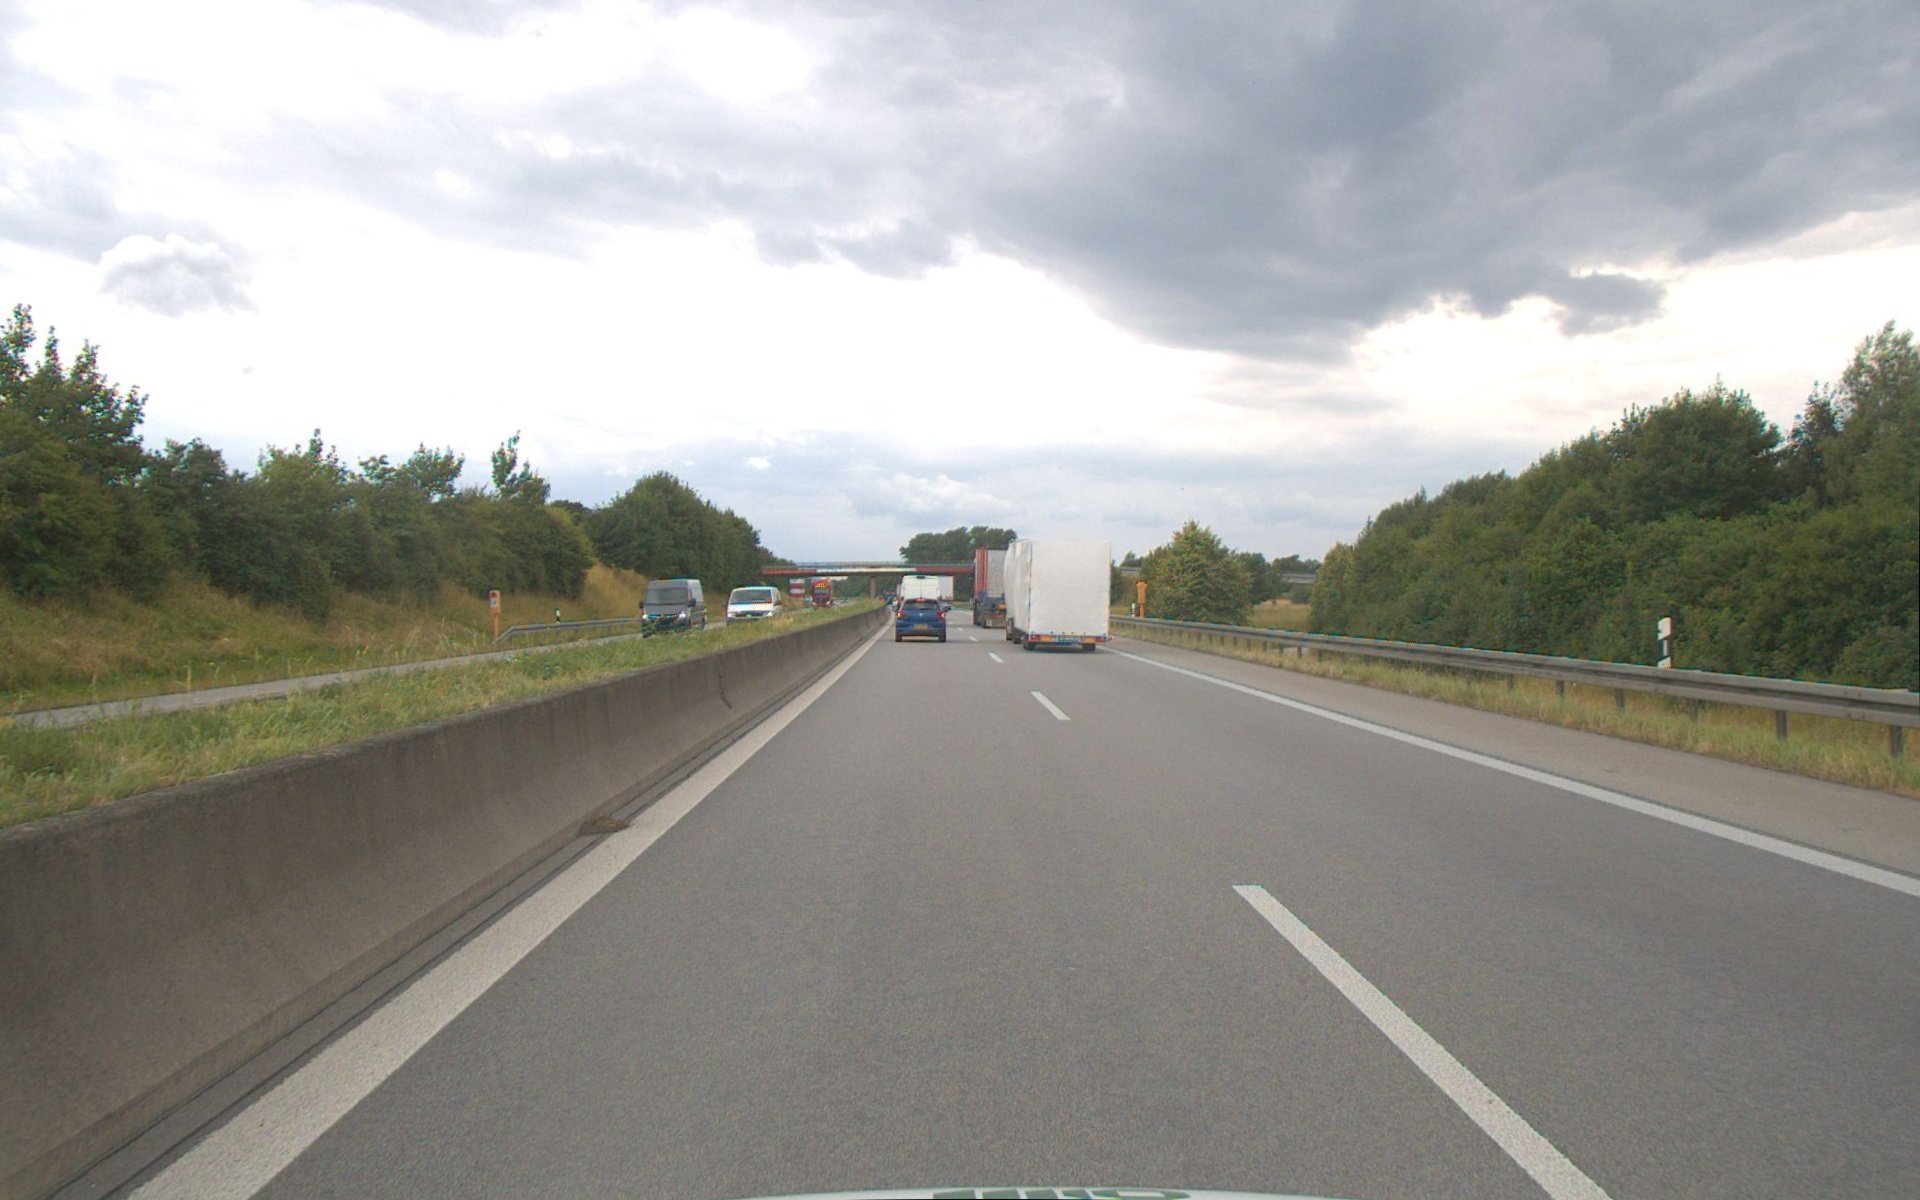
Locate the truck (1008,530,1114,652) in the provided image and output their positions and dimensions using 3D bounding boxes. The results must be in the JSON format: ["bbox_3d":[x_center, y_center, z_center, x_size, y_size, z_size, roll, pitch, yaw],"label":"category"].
[{"bbox_3d":[2.825,-0.253,48.113,2.366,3.278,7.140,0,0,-2],"label":"truck"}]

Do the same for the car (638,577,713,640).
[{"bbox_3d":[-12.256,0.366,71.620,2.126,2.508,6.721,-2,0,-1],"label":"car"}]

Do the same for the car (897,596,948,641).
[{"bbox_3d":[-1.228,0.588,55.183,1.630,1.431,3.648,0,0,-1],"label":"car"}]

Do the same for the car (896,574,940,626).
[{"bbox_3d":[-2.190,-0.003,84.946,2.087,2.526,5.836,0,0,-3],"label":"car"}]

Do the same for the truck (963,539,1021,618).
[{"bbox_3d":[1.667,-1.148,88.775,2.620,4.116,5.508,-1,0,-4],"label":"truck"}]

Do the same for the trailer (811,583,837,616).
[{"bbox_3d":[-18.172,-0.168,221.872,2.652,4.160,14.590,-2,1,-2],"label":"trailer"}]

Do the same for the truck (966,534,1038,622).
[{"bbox_3d":[2.001,-1.095,83.383,2.620,4.116,11.099,-1,1,-4],"label":"truck"}]

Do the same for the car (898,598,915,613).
[{"bbox_3d":[-6.097,0.597,189.532,1.896,1.672,4.900,0,0,-3],"label":"car"}]

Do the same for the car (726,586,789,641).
[{"bbox_3d":[-7.828,0.472,64.218,1.939,2.049,5.128,0,0,-2],"label":"car"}]

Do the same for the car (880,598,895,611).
[{"bbox_3d":[-9.814,0.573,223.034,1.954,1.713,3.998,0,0,-3],"label":"car"}]

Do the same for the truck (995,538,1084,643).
[{"bbox_3d":[2.556,-0.296,55.300,2.381,3.300,7.244,0,0,-2],"label":"truck"}]

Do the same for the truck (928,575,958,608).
[{"bbox_3d":[-2.093,-1.012,196.396,3.049,3.754,9.316,-2,0,-3],"label":"truck"}]
